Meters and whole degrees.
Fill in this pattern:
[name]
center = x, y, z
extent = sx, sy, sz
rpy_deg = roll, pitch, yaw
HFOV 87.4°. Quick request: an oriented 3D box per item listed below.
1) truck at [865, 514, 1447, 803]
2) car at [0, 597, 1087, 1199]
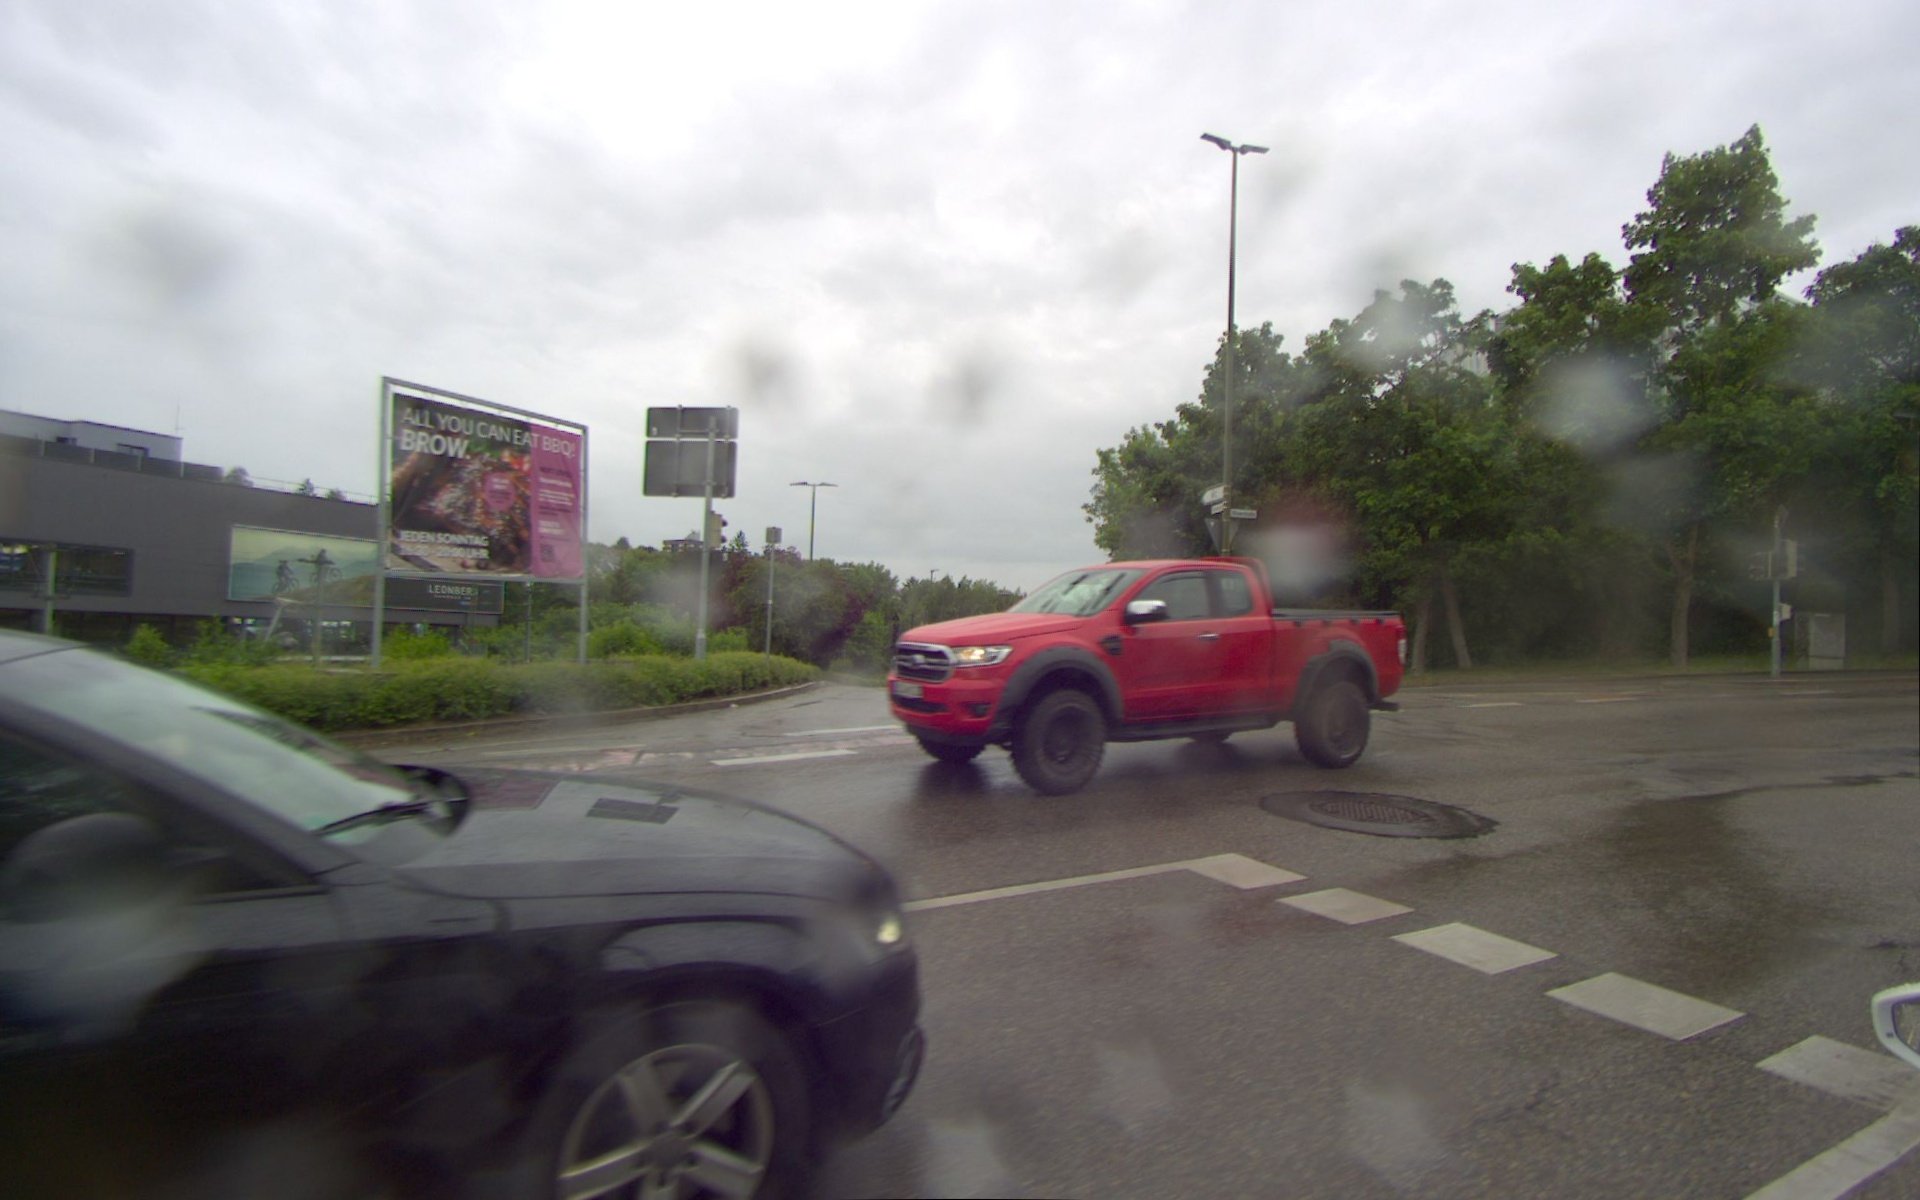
[truck]
center = 1.941, 0.453, 9.277
extent = 5.274, 2.040, 1.984
rpy_deg = 1, 0, -30
[car]
center = -1.833, 0.715, 2.189
extent = 3.955, 1.414, 1.746
rpy_deg = 2, -1, -31
